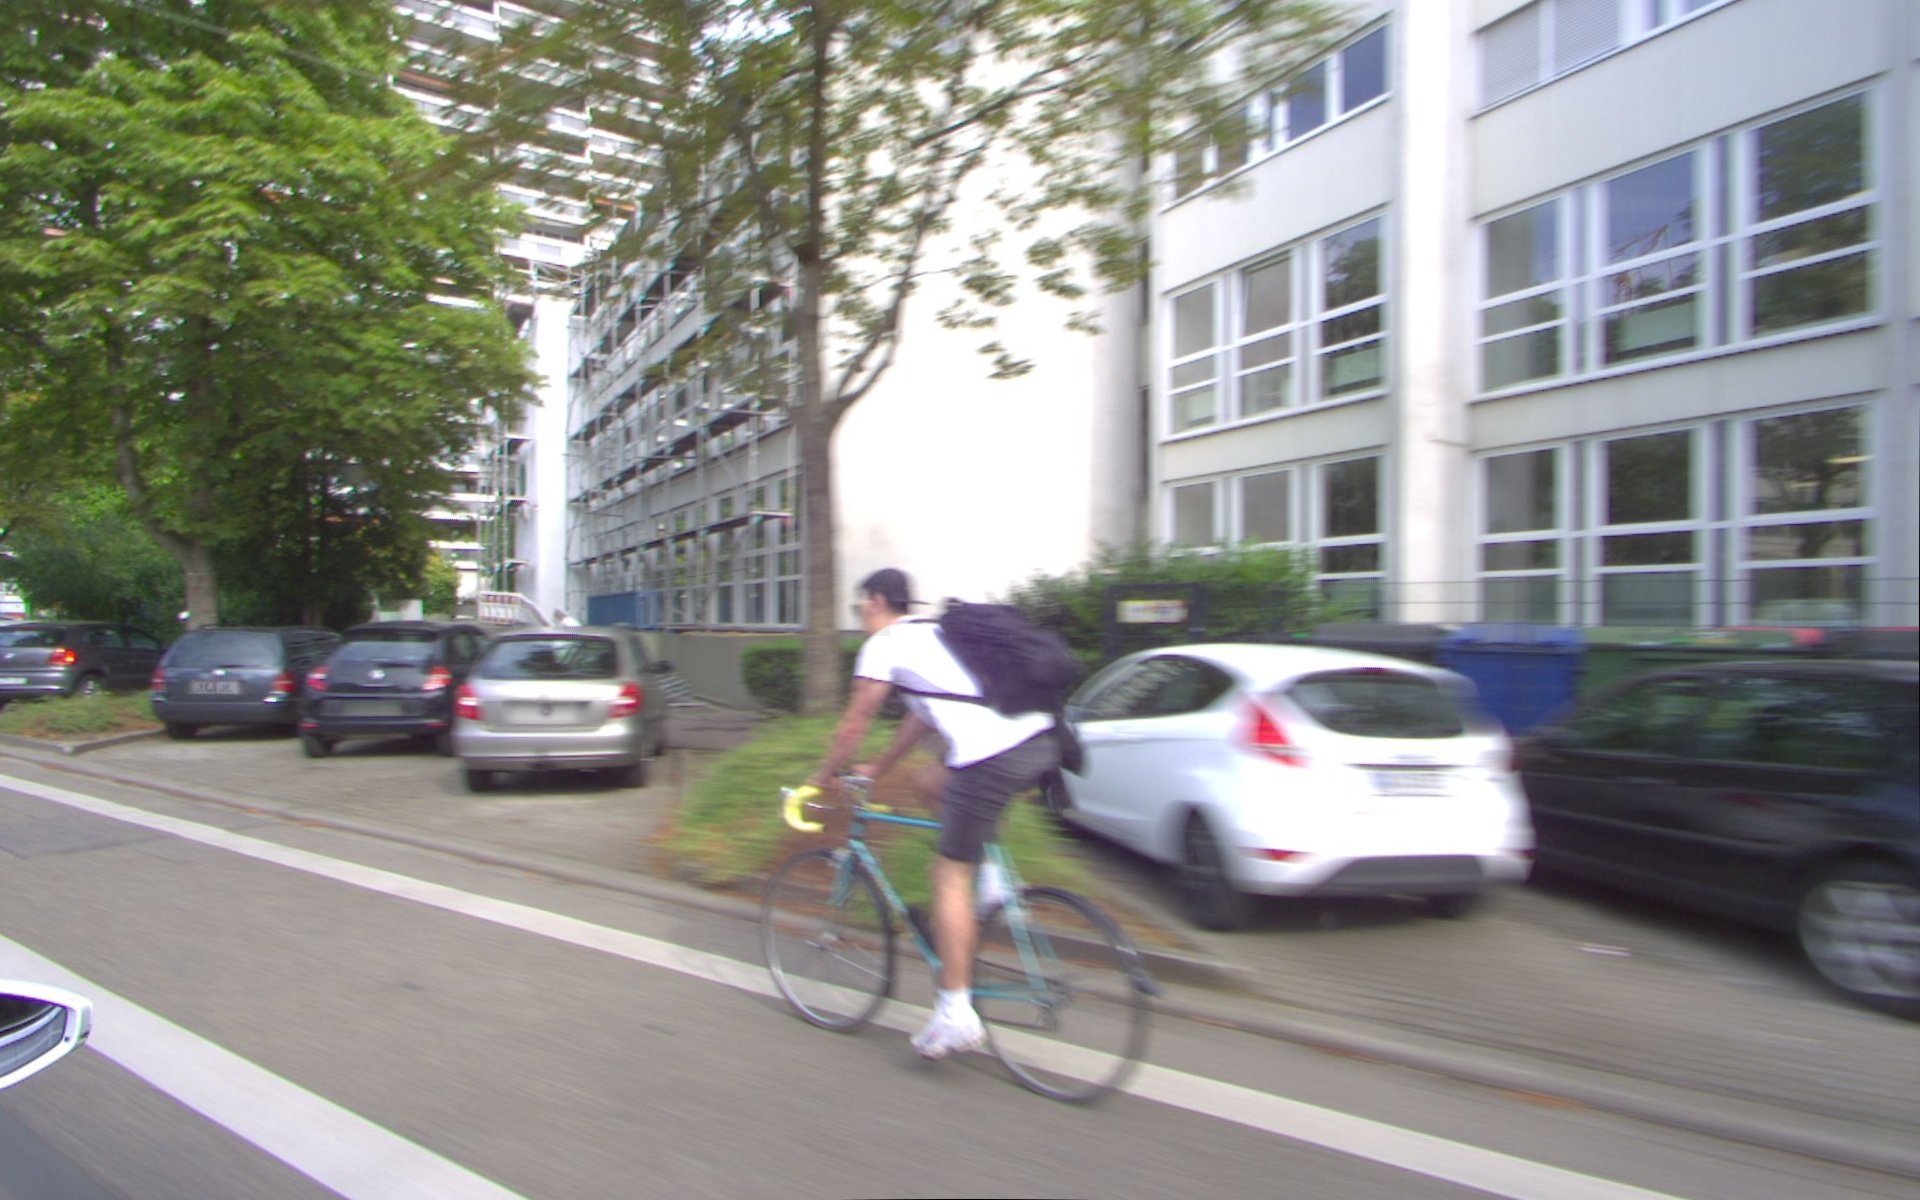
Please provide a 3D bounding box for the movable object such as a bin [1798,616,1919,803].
[{"bbox_3d":[8.190,0.923,8.660,1.304,1.527,1.067,0,-2,33],"label":"movable object such as a bin"}]

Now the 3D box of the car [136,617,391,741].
[{"bbox_3d":[-9.465,1.015,13.976,1.610,1.477,3.737,1,-2,-13],"label":"car"}]

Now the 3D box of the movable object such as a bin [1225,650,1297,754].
[{"bbox_3d":[3.407,1.136,11.335,0.566,1.117,0.648,0,-2,41],"label":"movable object such as a bin"}]

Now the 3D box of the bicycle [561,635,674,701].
[{"bbox_3d":[-6.486,1.267,19.002,1.943,1.143,0.536,-1,0,-28],"label":"bicycle"}]

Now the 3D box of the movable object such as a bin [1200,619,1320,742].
[{"bbox_3d":[3.985,1.037,13.307,1.105,1.542,1.072,2,-2,-34],"label":"movable object such as a bin"}]

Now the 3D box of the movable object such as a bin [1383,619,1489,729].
[{"bbox_3d":[7.151,1.087,15.059,1.022,1.582,1.072,2,-2,-34],"label":"movable object such as a bin"}]

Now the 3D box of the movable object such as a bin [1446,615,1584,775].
[{"bbox_3d":[5.779,0.941,10.406,1.196,1.527,1.067,0,-2,33],"label":"movable object such as a bin"}]

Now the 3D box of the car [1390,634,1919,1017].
[{"bbox_3d":[4.224,0.926,5.231,1.647,1.478,3.825,1,-2,-15],"label":"car"}]

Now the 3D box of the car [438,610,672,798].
[{"bbox_3d":[-3.905,0.924,10.239,1.610,1.542,3.737,1,-2,-13],"label":"car"}]

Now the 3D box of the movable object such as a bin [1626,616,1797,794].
[{"bbox_3d":[6.997,0.928,9.410,1.196,1.527,1.067,0,-2,33],"label":"movable object such as a bin"}]

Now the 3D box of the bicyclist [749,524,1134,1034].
[{"bbox_3d":[-0.067,0.534,3.503,1.161,1.482,0.656,0,-1,31],"label":"bicyclist"}]

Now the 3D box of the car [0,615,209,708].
[{"bbox_3d":[-15.101,1.011,17.481,1.593,1.461,3.535,1,-1,-7],"label":"car"}]

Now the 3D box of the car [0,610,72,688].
[{"bbox_3d":[-20.373,0.989,20.510,1.530,1.593,3.447,1,-1,-7],"label":"car"}]

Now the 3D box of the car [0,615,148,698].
[{"bbox_3d":[-17.614,1.025,19.211,1.530,1.461,3.447,1,-1,-7],"label":"car"}]

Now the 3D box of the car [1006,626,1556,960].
[{"bbox_3d":[1.636,0.925,6.503,1.611,1.478,3.825,1,-2,-15],"label":"car"}]

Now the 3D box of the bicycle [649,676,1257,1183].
[{"bbox_3d":[-0.100,0.948,3.523,2.093,1.265,0.656,0,-2,31],"label":"bicycle"}]

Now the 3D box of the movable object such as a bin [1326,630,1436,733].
[{"bbox_3d":[6.018,1.141,14.349,1.022,1.385,1.072,2,-2,-34],"label":"movable object such as a bin"}]

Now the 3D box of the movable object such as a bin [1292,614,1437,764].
[{"bbox_3d":[4.473,0.940,11.054,1.315,1.527,1.067,0,-2,33],"label":"movable object such as a bin"}]

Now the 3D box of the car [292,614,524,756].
[{"bbox_3d":[-6.867,0.990,12.887,1.610,1.542,3.737,1,-2,-13],"label":"car"}]
